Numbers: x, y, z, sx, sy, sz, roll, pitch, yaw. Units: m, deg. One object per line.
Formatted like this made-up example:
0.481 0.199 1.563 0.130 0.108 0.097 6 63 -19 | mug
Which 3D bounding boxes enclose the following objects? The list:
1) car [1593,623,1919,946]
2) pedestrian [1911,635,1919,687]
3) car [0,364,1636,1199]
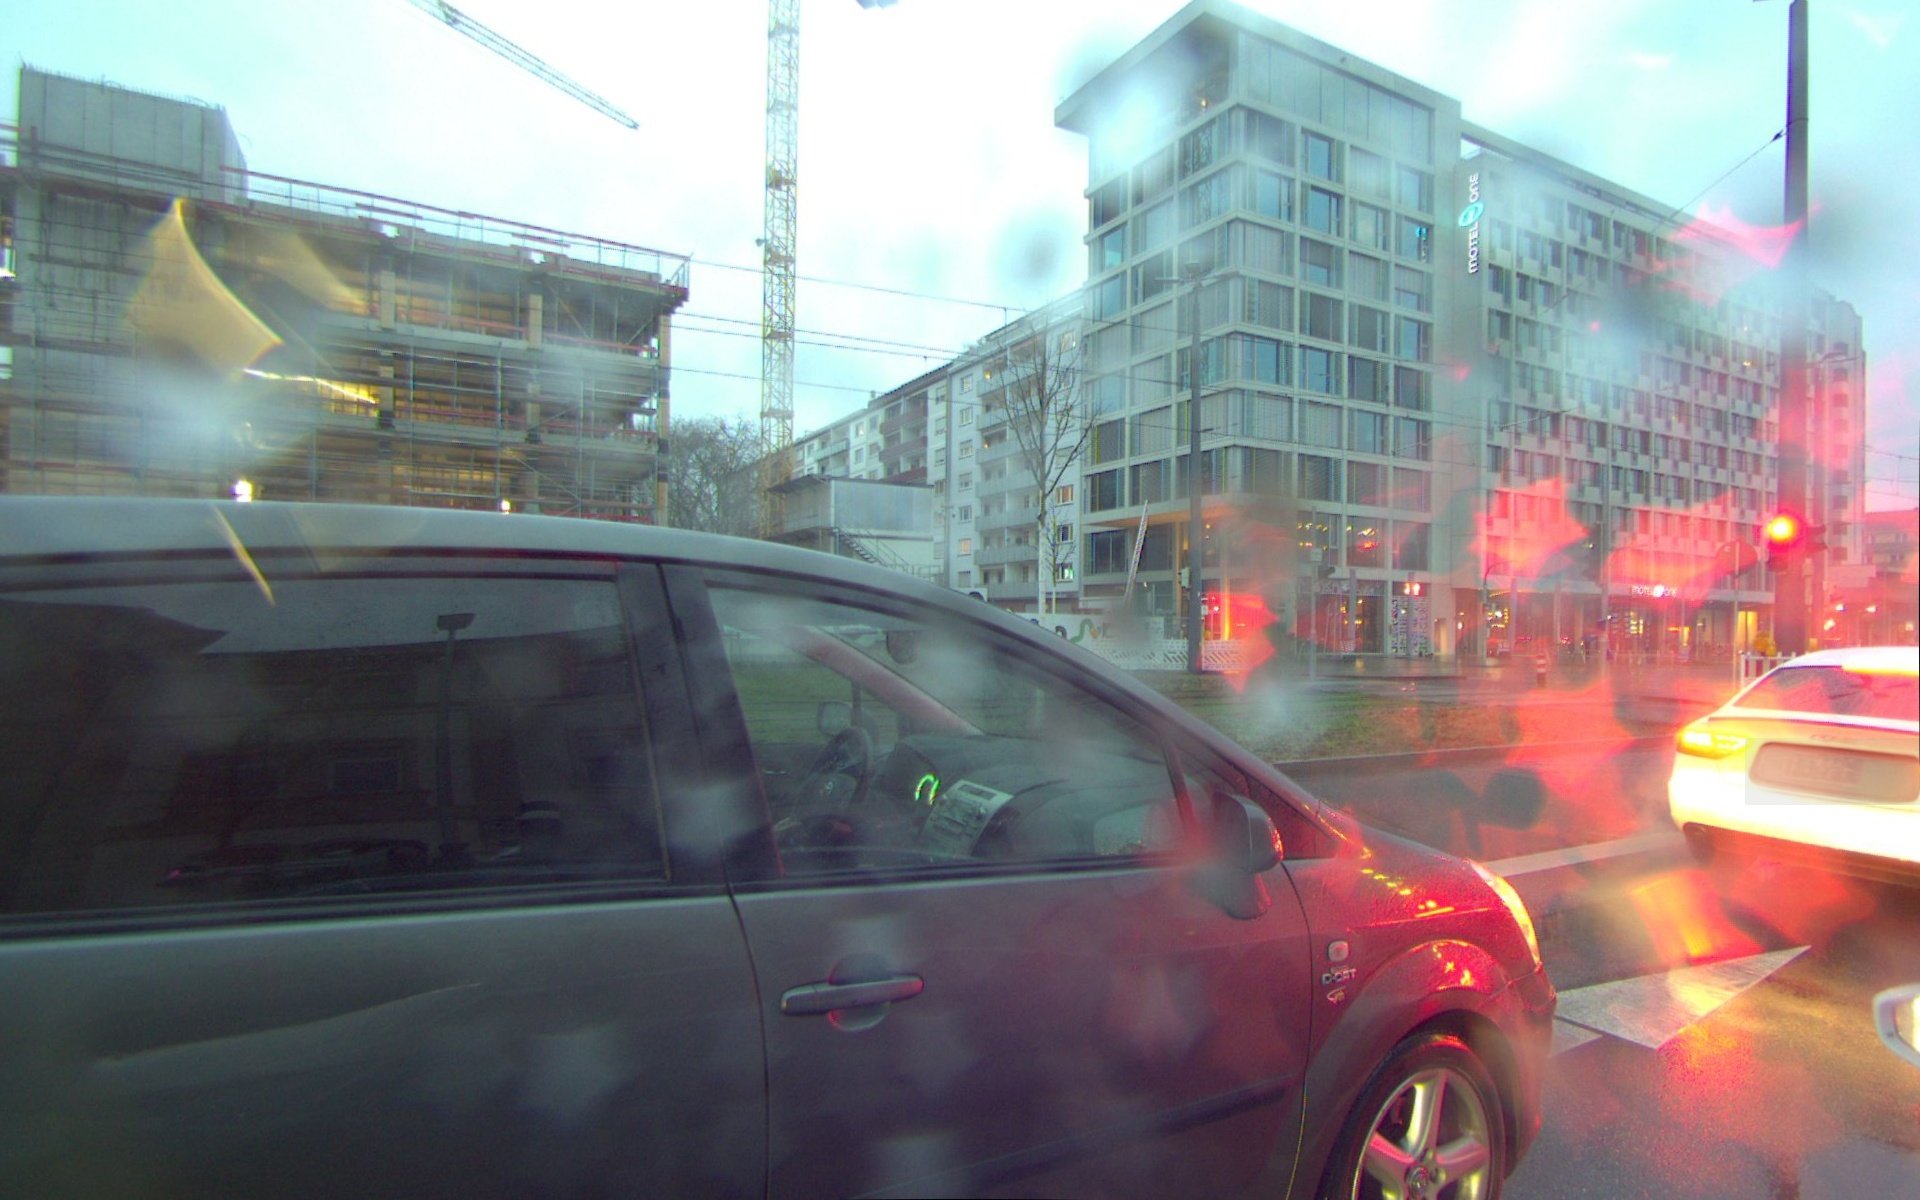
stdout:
6.083 0.921 6.238 4.320 1.475 1.983 1 -1 -32 | car
32.819 2.091 34.056 0.808 1.734 0.782 2 0 -45 | pedestrian
-0.543 0.644 2.143 4.089 1.668 1.801 1 0 -32 | car
